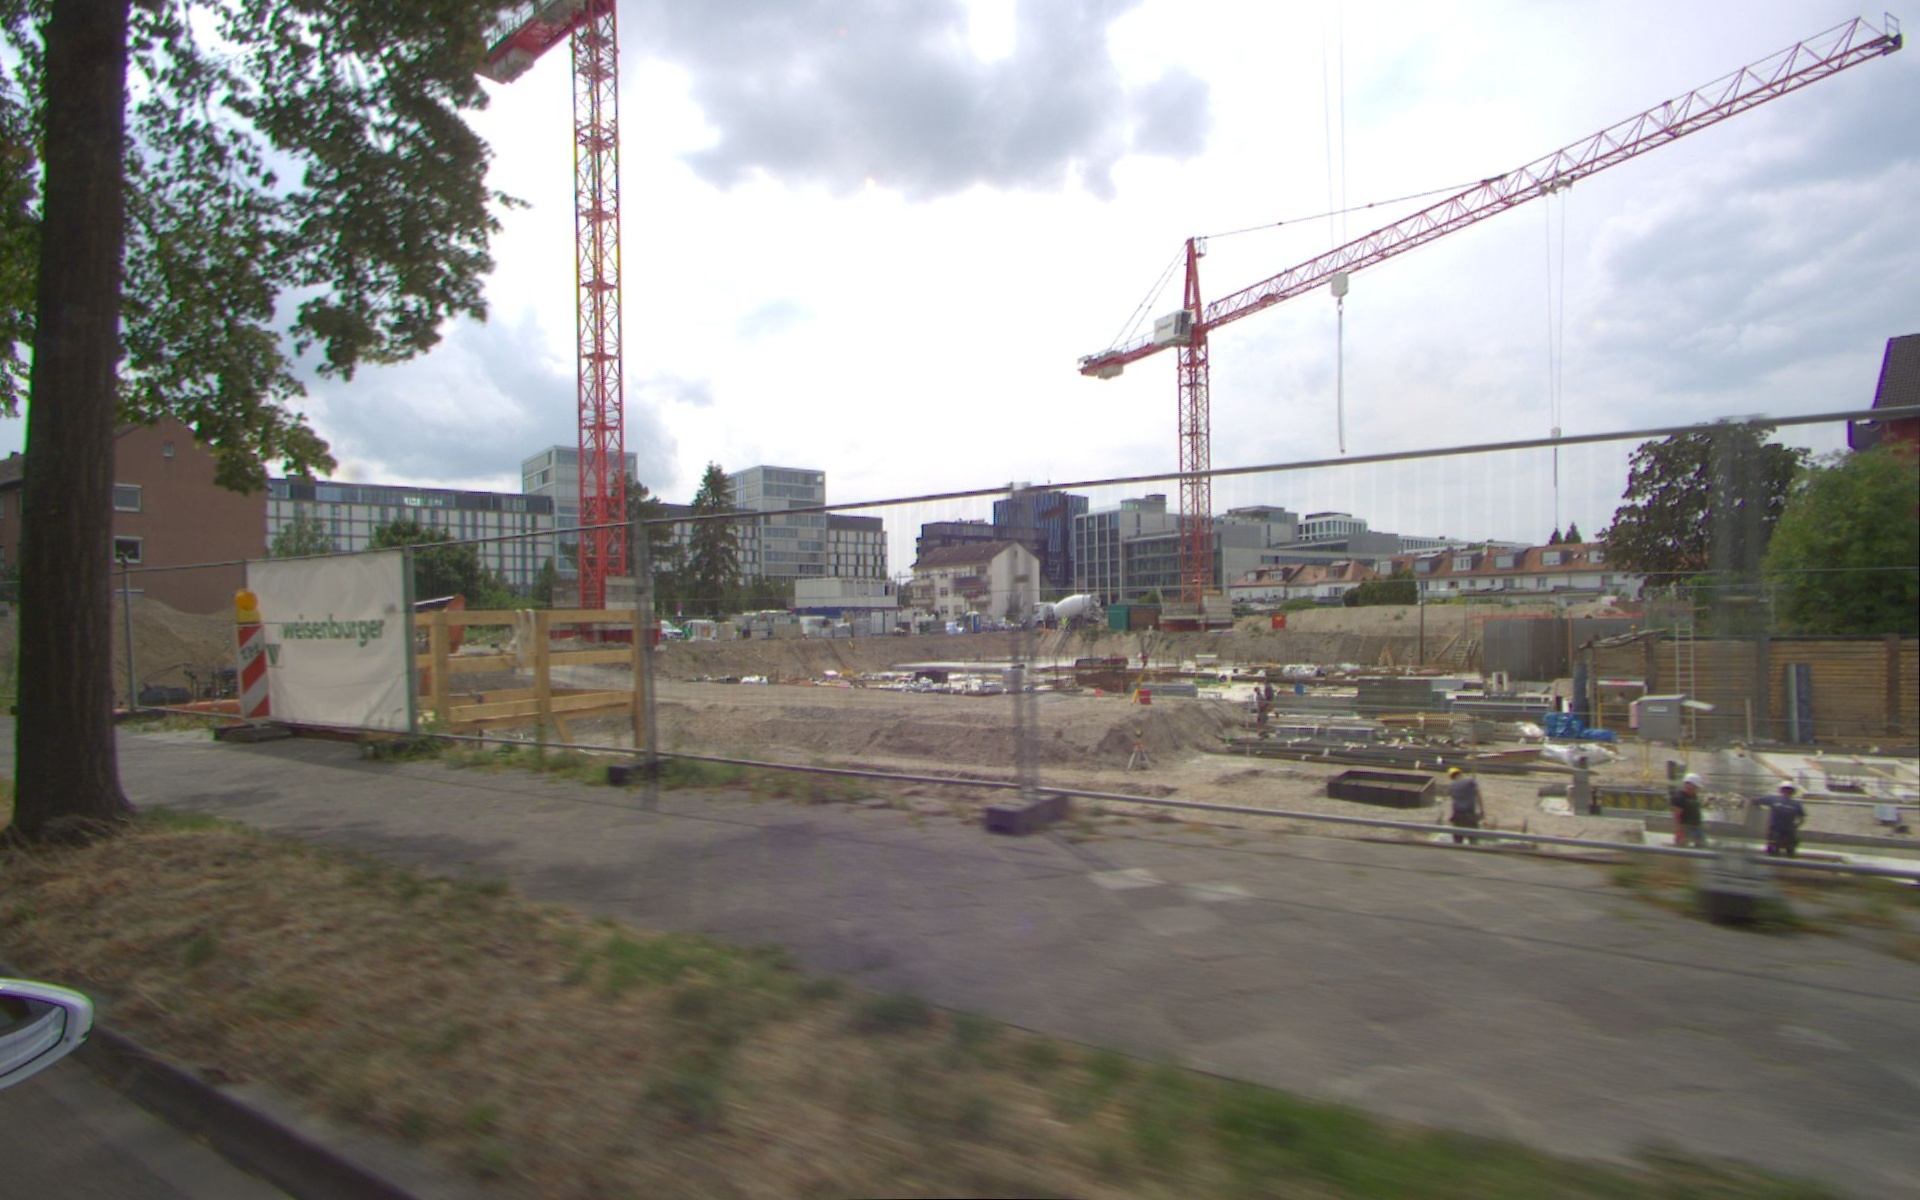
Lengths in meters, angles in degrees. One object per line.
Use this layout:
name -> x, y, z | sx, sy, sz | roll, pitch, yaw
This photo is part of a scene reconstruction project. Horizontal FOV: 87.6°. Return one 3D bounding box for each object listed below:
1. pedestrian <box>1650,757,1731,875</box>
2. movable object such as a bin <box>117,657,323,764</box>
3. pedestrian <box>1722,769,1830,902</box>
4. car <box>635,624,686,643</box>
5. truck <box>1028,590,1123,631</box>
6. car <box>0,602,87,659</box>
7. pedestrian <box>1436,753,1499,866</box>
pedestrian -> 12.196, 3.579, 16.721 | 0.709, 1.745, 0.842 | -2, 1, -23
movable object such as a bin -> -22.468, 3.216, 30.483 | 4.650, 2.624, 3.103 | -2, 1, -44
pedestrian -> 12.468, 3.570, 15.321 | 0.829, 1.745, 0.982 | -2, 1, -16
car -> -25.216, 2.781, 84.236 | 4.143, 1.435, 1.715 | 1, 1, 29
truck -> 12.339, 1.163, 107.721 | 10.160, 4.188, 3.320 | -1, 1, 44
car -> -45.660, 1.425, 47.934 | 2.303, 2.667, 5.458 | 1, 1, 34
pedestrian -> 8.853, 3.632, 17.478 | 0.836, 1.745, 0.714 | -2, 1, -42
